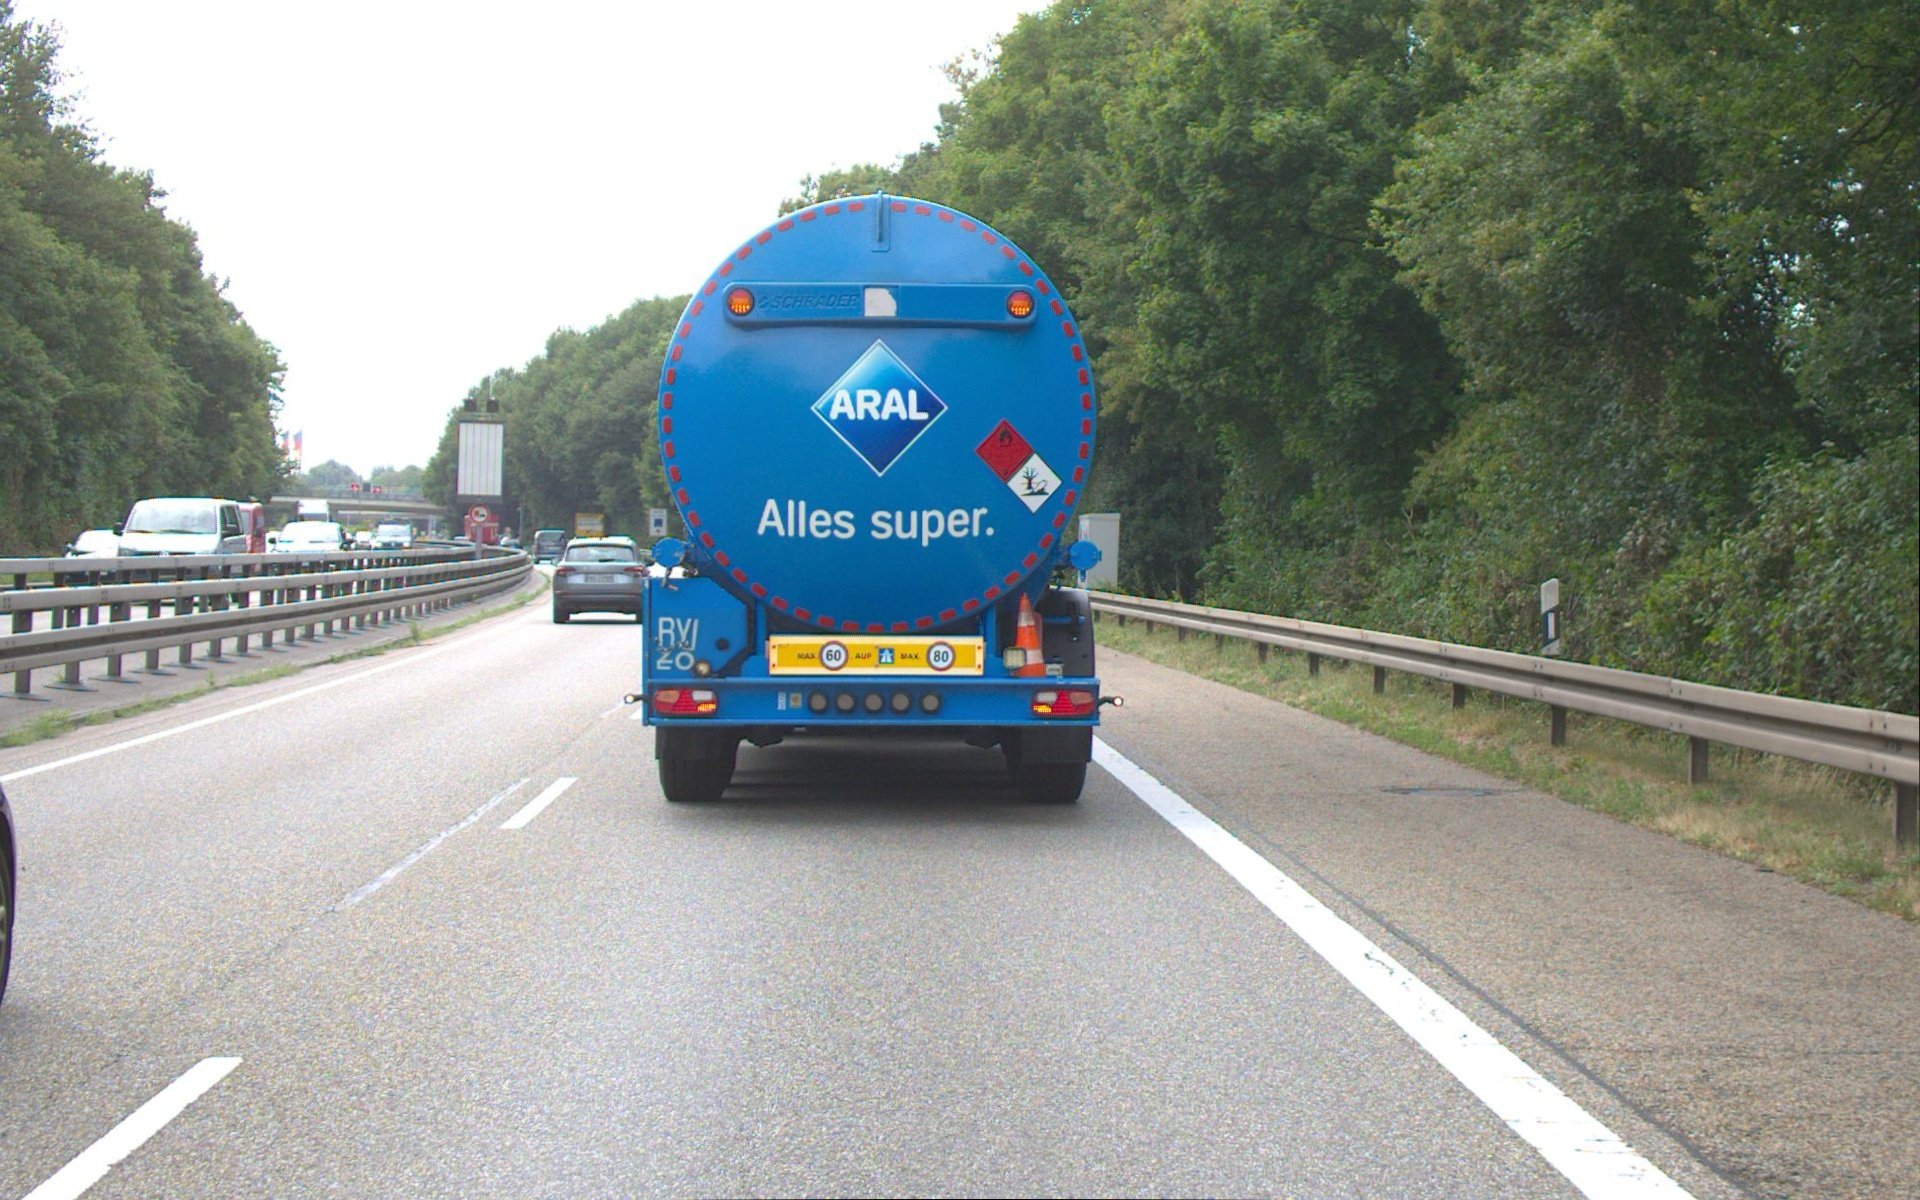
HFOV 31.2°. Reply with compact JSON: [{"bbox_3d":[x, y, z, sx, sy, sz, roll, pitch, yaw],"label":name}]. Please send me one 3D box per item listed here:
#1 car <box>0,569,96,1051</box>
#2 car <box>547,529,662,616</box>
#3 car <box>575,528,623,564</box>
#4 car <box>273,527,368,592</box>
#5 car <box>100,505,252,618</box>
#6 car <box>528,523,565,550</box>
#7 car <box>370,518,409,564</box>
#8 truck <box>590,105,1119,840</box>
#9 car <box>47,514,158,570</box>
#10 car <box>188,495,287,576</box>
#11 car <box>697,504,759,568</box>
[{"bbox_3d":[-3.775,0.647,9.447,1.826,1.453,4.640,0,1,-3],"label":"car"},{"bbox_3d":[-6.742,-0.525,65.537,1.826,1.604,4.167,0,1,-1],"label":"car"},{"bbox_3d":[-15.970,-2.366,151.862,1.954,1.562,4.001,0,1,-8],"label":"car"},{"bbox_3d":[-15.670,-0.988,84.397,1.781,1.558,4.015,0,1,-3],"label":"car"},{"bbox_3d":[-14.257,-0.701,62.766,1.821,1.976,5.058,0,1,-3],"label":"car"},{"bbox_3d":[-24.340,-3.722,202.383,1.993,1.546,4.001,0,1,-9],"label":"car"},{"bbox_3d":[-29.140,-2.996,175.738,1.935,2.313,5.306,0,1,-9],"label":"car"},{"bbox_3d":[-0.618,-0.733,21.803,2.755,3.833,7.689,0,1,-1],"label":"truck"},{"bbox_3d":[-20.028,-1.348,80.410,1.774,1.292,4.108,0,1,-3],"label":"car"},{"bbox_3d":[-20.686,-1.832,98.617,2.066,2.248,5.376,0,1,-4],"label":"car"},{"bbox_3d":[-8.231,-2.269,122.303,1.993,2.237,4.000,0,1,-1],"label":"car"}]
